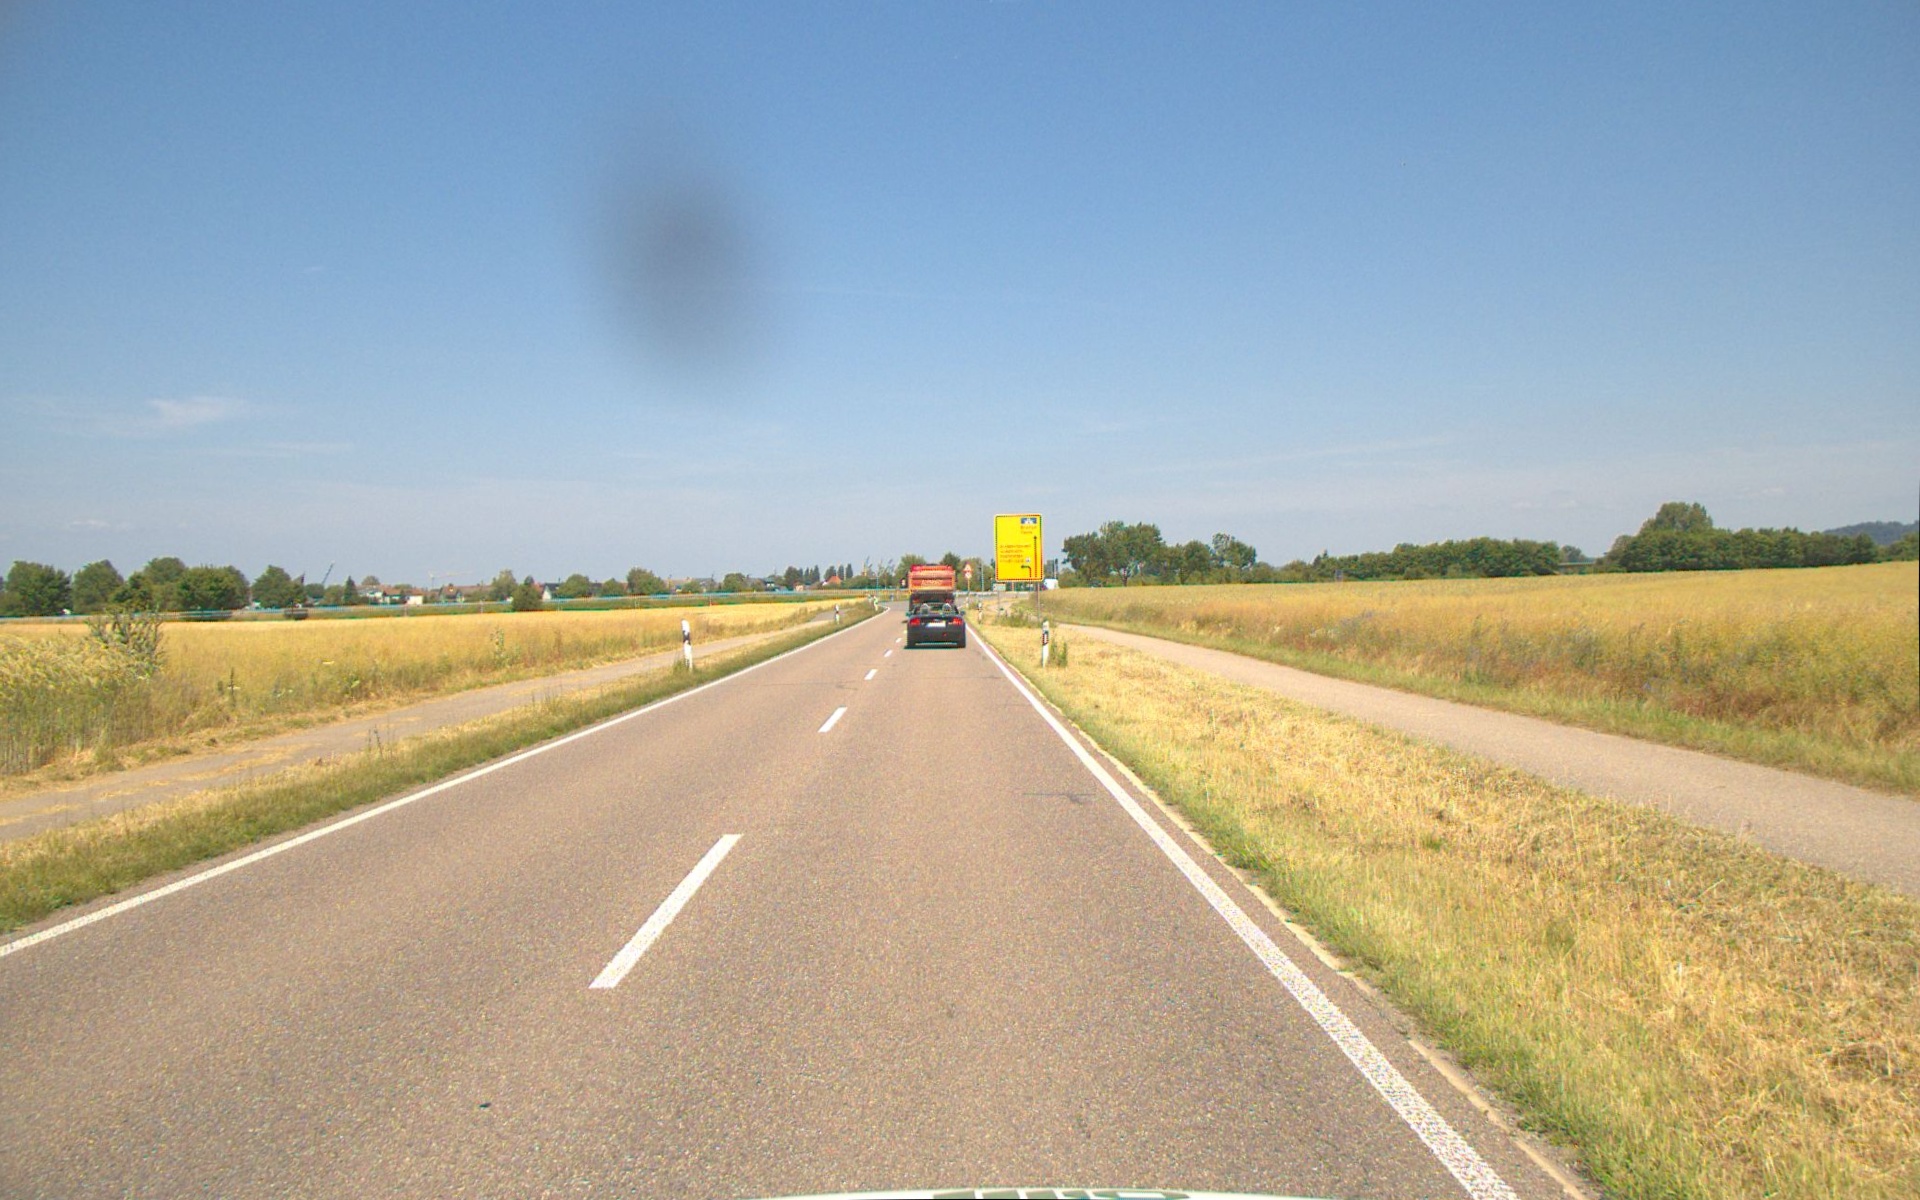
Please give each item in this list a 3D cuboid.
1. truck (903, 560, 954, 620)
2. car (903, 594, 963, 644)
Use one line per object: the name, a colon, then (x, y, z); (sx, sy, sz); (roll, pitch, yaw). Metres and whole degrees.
truck: (-1.700, -0.504, 90.774); (2.659, 3.106, 8.162); (0, 0, -1)
car: (-0.791, 0.548, 48.873); (1.712, 1.400, 3.678); (1, 0, -1)
